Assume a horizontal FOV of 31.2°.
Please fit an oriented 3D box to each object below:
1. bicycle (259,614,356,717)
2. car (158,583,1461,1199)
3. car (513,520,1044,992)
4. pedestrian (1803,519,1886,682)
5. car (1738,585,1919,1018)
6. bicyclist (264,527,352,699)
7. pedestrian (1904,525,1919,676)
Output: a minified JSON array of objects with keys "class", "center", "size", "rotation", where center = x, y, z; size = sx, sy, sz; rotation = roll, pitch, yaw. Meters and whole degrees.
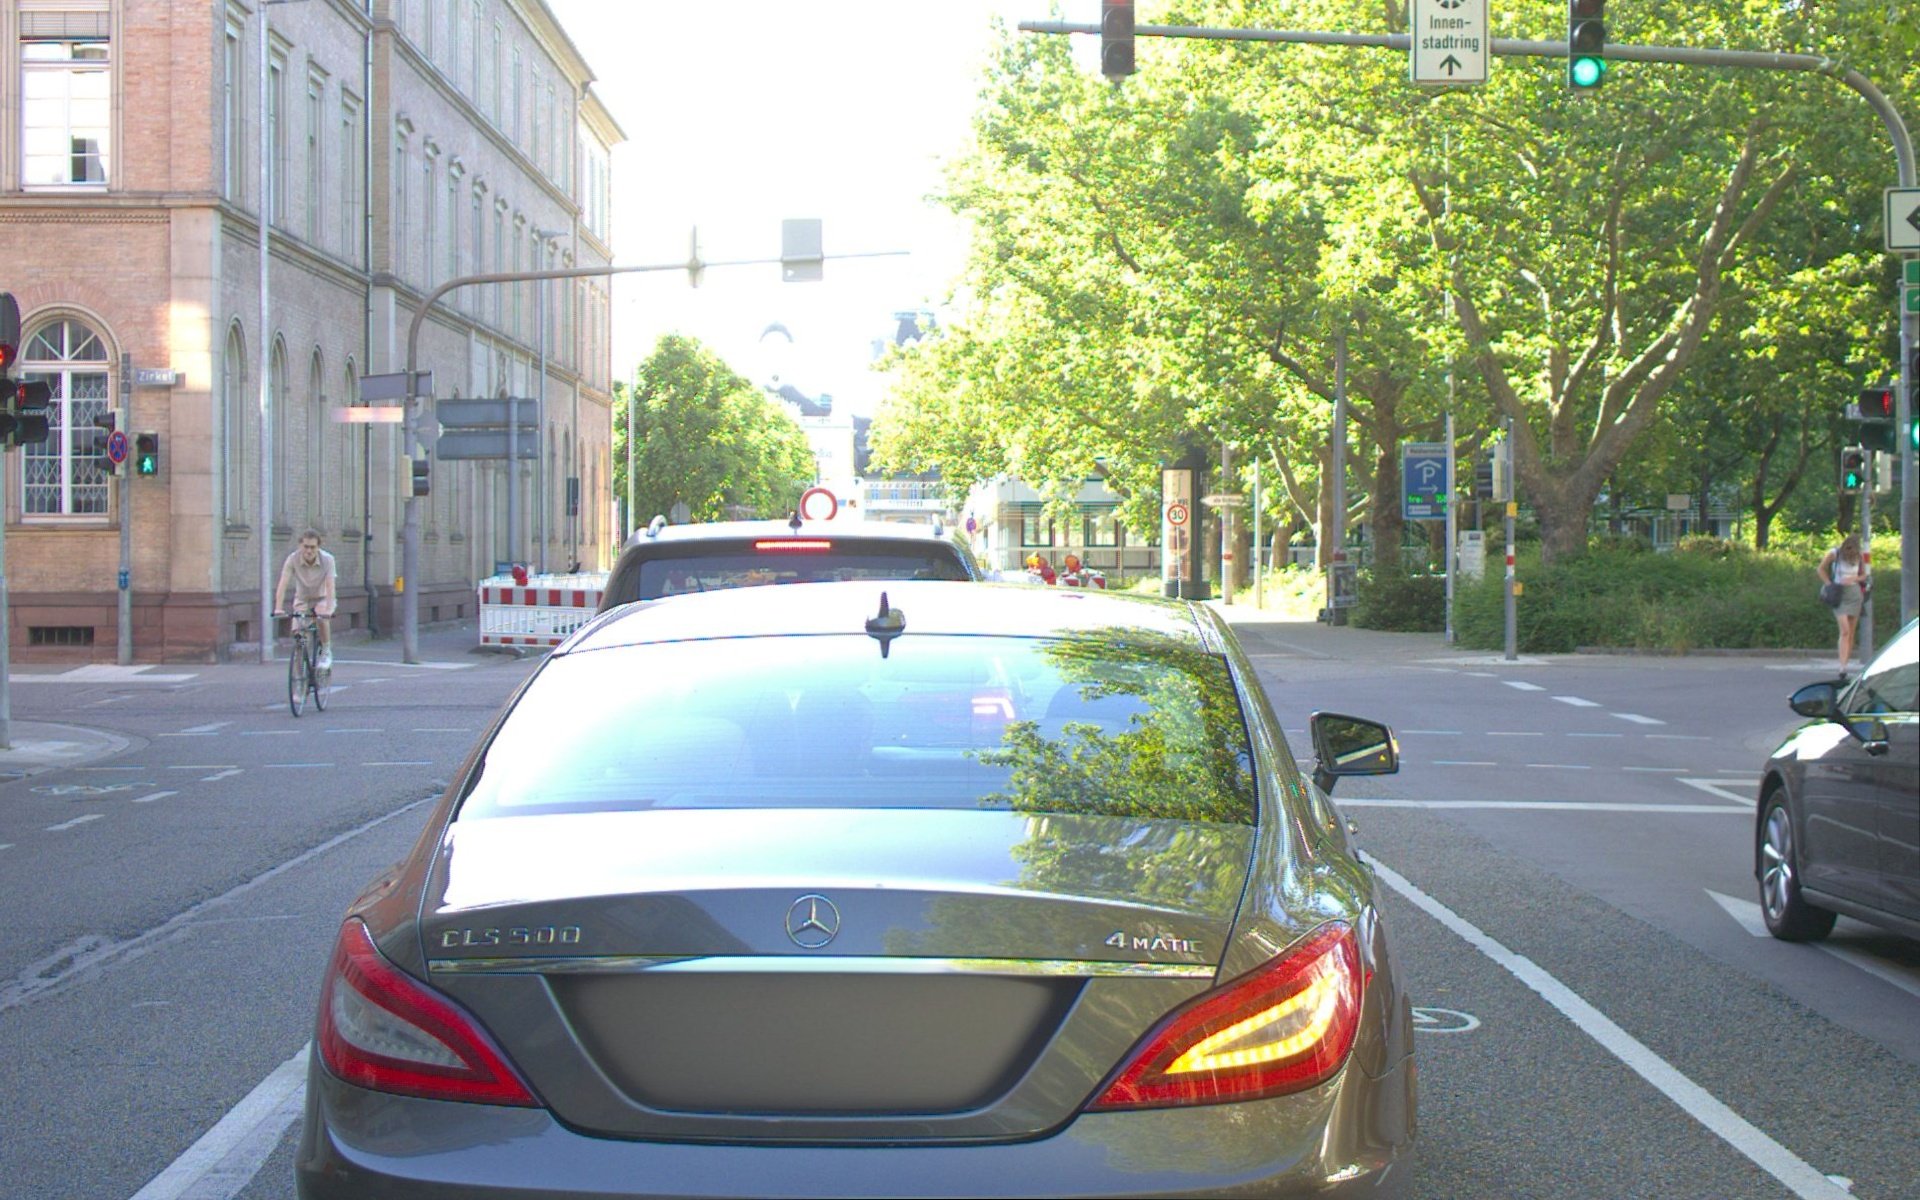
[{"class":"bicycle","center":[-6.024,0.592,31.805],"size":[0.548,0.888,1.868],"rotation":[1,1,-1]},{"class":"car","center":[-0.027,0.699,7.101],"size":[1.843,1.424,4.516],"rotation":[1,1,5]},{"class":"car","center":[-0.584,0.514,13.743],"size":[1.809,1.607,4.000],"rotation":[0,1,1]},{"class":"pedestrian","center":[9.992,0.009,38.841],"size":[0.732,1.802,0.909],"rotation":[-1,-1,4]},{"class":"car","center":[4.064,0.693,12.119],"size":[1.689,1.435,3.902],"rotation":[1,1,-1]},{"class":"bicyclist","center":[-6.014,0.114,31.735],"size":[0.648,1.553,0.807],"rotation":[1,0,-1]},{"class":"pedestrian","center":[11.138,0.005,38.843],"size":[0.683,1.691,0.970],"rotation":[1,0,3]}]
